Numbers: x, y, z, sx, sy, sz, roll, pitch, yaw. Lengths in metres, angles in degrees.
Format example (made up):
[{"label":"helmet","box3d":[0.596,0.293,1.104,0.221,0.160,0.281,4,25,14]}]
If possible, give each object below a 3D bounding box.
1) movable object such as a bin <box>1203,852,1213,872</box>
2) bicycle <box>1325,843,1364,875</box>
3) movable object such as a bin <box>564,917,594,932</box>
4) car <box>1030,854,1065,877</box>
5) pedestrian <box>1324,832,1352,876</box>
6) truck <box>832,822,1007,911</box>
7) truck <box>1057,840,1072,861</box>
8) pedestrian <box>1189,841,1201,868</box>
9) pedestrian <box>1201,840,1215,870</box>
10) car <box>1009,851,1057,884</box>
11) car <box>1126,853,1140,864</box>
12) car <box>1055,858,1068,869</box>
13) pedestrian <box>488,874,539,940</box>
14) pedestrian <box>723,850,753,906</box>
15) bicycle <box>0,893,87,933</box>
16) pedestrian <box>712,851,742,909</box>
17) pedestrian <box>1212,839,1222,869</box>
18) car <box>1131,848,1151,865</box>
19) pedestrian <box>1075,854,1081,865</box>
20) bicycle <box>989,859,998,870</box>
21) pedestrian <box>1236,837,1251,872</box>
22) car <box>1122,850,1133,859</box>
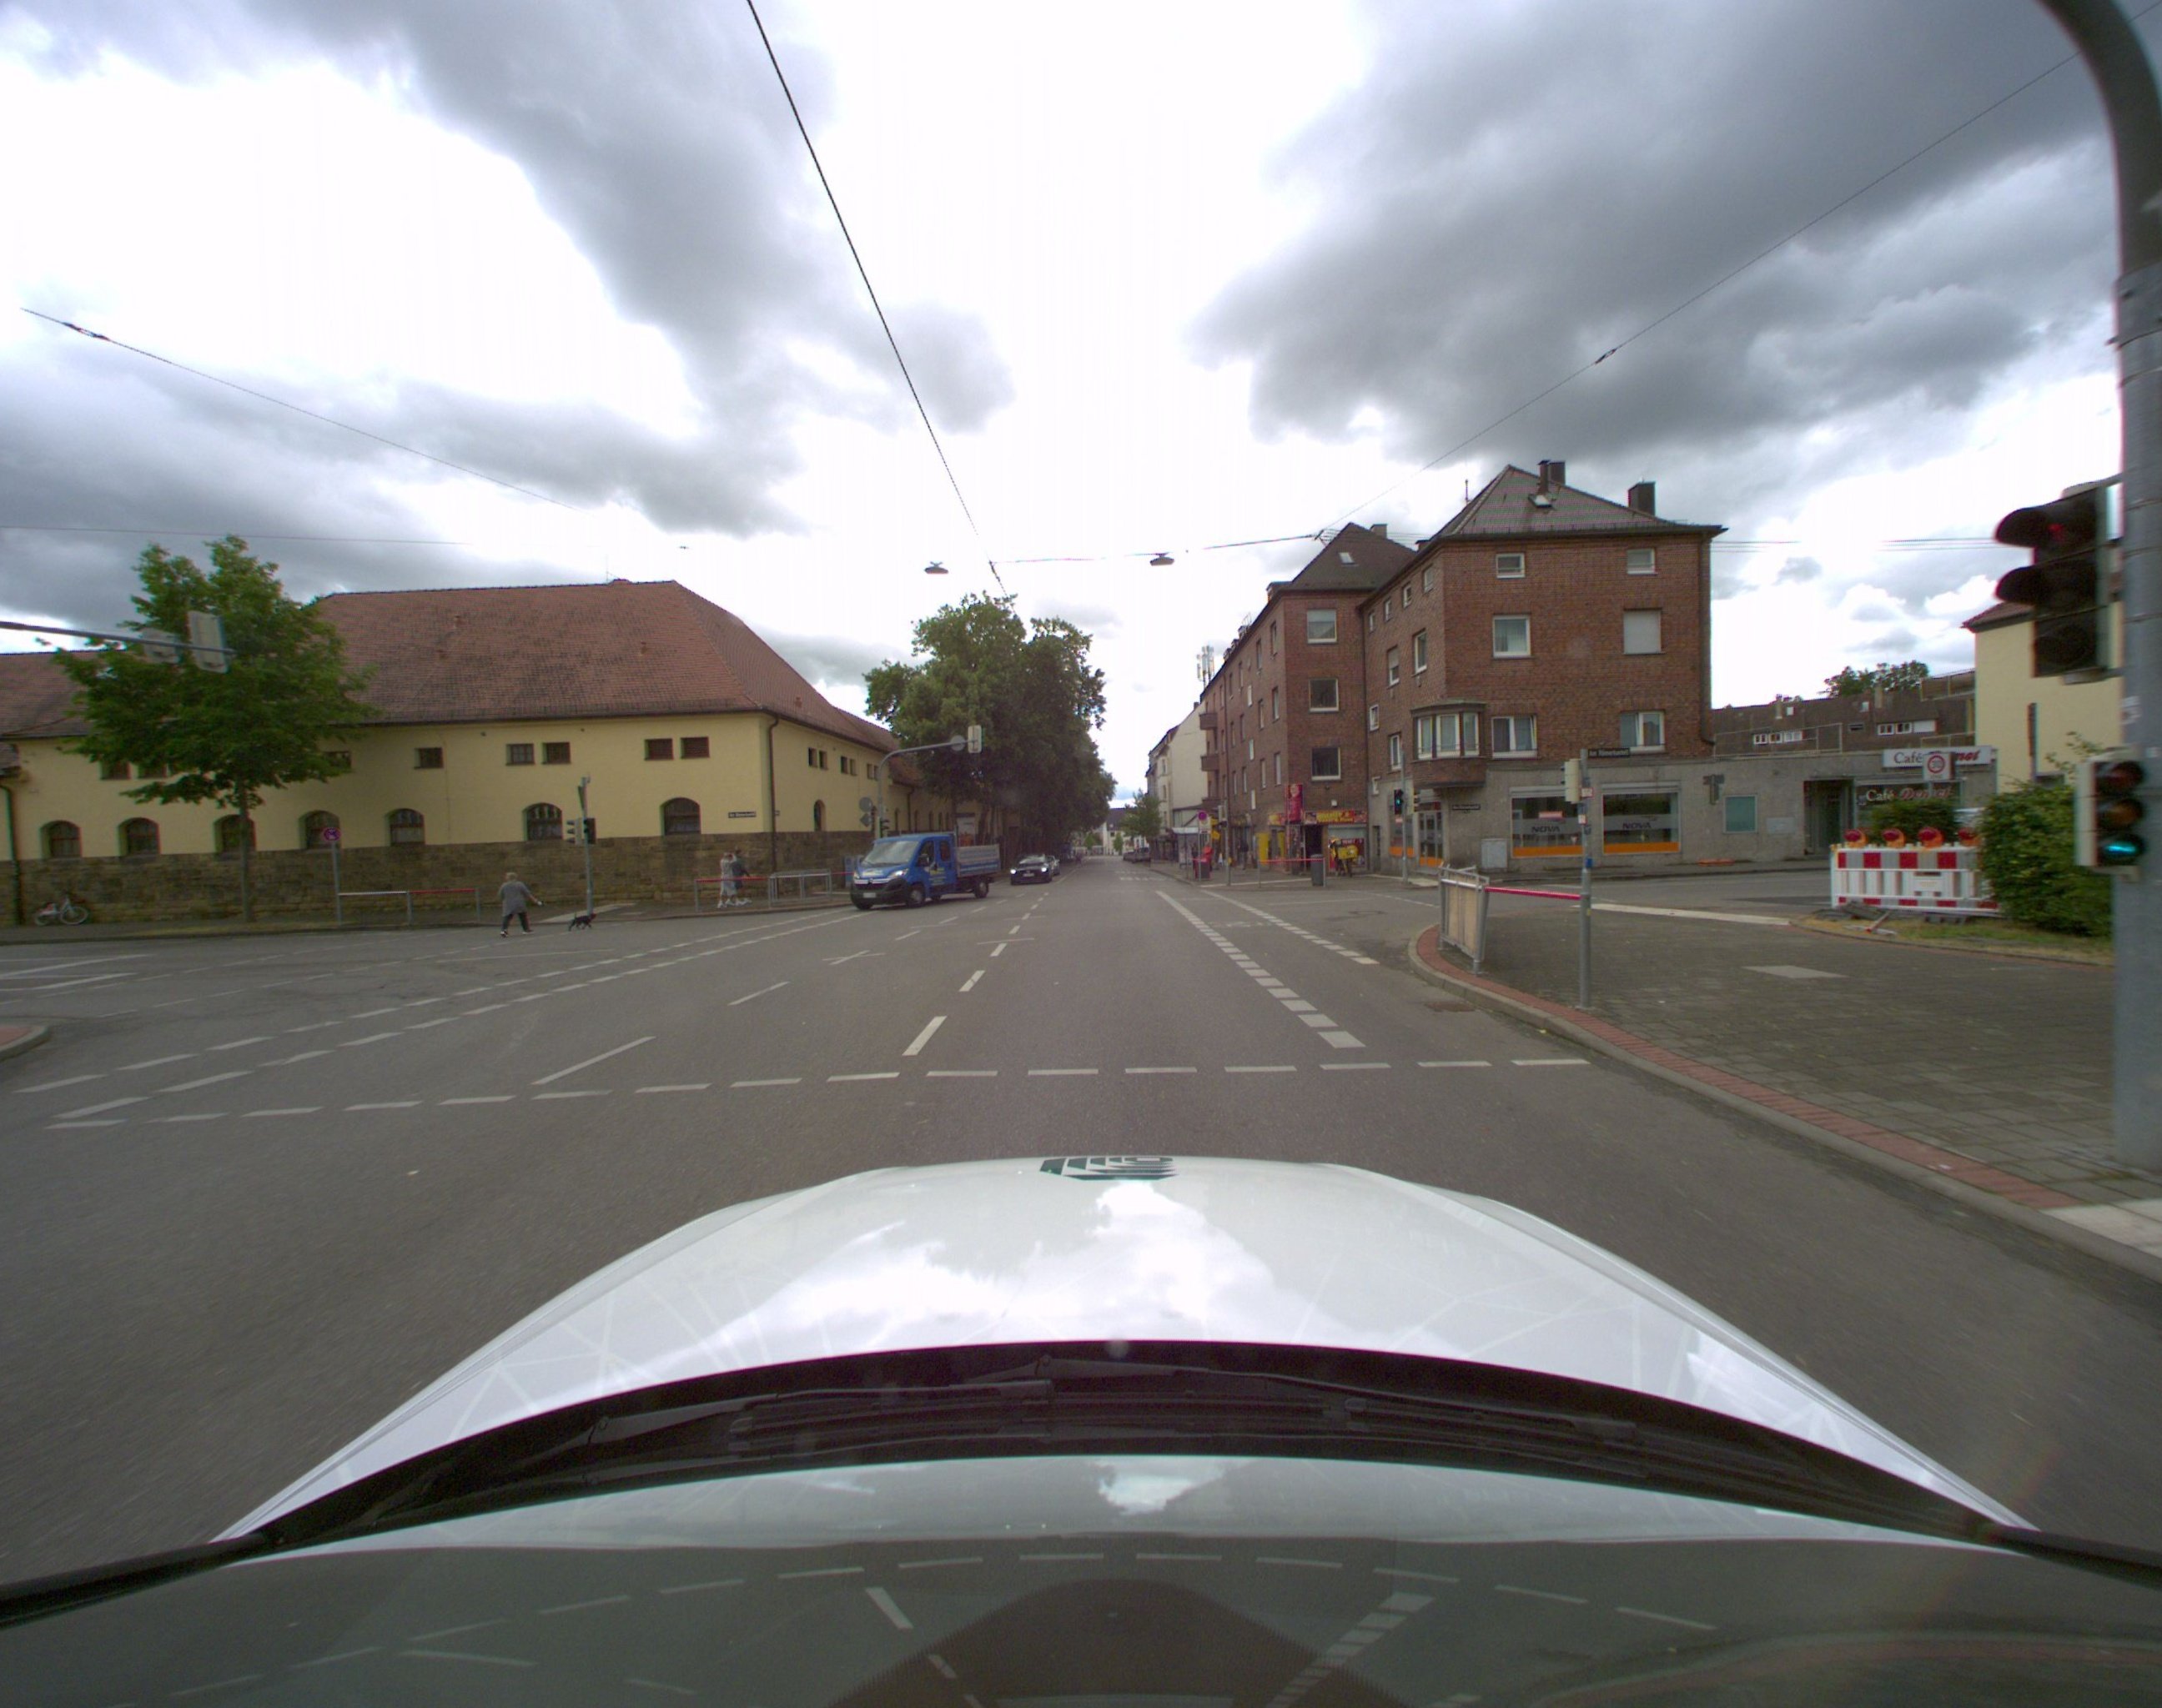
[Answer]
[{"label":"movable object such as a bin","box3d":[7.005,0.436,45.043,0.449,1.056,0.412,-2,0,21]},{"label":"bicycle","box3d":[10.249,0.194,31.743,0.757,1.193,2.392,-2,0,2]},{"label":"movable object such as a bin","box3d":[-13.073,1.830,21.228,0.303,0.347,0.585,-2,0,33]},{"label":"car","box3d":[-2.076,0.718,50.849,1.678,1.275,4.098,-4,-1,3]},{"label":"pedestrian","box3d":[10.193,-0.012,32.342,0.785,1.656,0.772,-4,0,2]},{"label":"truck","box3d":[-4.924,0.322,26.162,2.275,2.427,6.445,-3,0,21]},{"label":"truck","box3d":[-2.687,-0.562,134.142,2.223,3.346,7.450,-2,0,1]},{"label":"pedestrian","box3d":[7.422,0.046,52.957,0.666,1.727,0.765,-2,0,7]},{"label":"pedestrian","box3d":[7.089,0.069,45.355,0.560,1.637,0.684,-2,0,21]},{"label":"car","box3d":[-2.217,0.603,38.772,1.696,1.414,4.196,-3,0,3]},{"label":"car","box3d":[7.762,0.675,121.387,1.664,1.547,3.754,-2,0,-1]},{"label":"car","box3d":[-2.958,1.491,124.740,1.829,1.578,3.754,-2,0,-1]},{"label":"pedestrian","box3d":[-13.984,1.292,20.088,0.561,1.566,0.844,-2,0,7]},{"label":"pedestrian","box3d":[-11.066,0.770,26.310,0.562,1.777,0.842,-2,0,1]},{"label":"bicycle","box3d":[-34.994,1.984,27.428,2.309,1.266,0.515,-2,0,-2]},{"label":"pedestrian","box3d":[-11.071,0.815,25.496,0.562,1.777,0.717,-2,0,1]},{"label":"pedestrian","box3d":[8.240,0.013,49.440,0.477,1.765,0.458,-2,-1,1]},{"label":"car","box3d":[7.179,0.248,97.953,1.988,1.935,4.916,-2,0,-1]},{"label":"pedestrian","box3d":[-0.430,0.806,115.494,0.676,1.536,0.605,-2,0,-27]},{"label":"bicycle","box3d":[-9.016,1.077,83.742,0.594,1.091,2.197,0,0,3]},{"label":"pedestrian","box3d":[8.472,0.021,42.513,0.644,1.750,0.779,-2,0,7]},{"label":"car","box3d":[8.622,0.059,151.367,1.664,1.547,3.754,-2,0,-1]}]
